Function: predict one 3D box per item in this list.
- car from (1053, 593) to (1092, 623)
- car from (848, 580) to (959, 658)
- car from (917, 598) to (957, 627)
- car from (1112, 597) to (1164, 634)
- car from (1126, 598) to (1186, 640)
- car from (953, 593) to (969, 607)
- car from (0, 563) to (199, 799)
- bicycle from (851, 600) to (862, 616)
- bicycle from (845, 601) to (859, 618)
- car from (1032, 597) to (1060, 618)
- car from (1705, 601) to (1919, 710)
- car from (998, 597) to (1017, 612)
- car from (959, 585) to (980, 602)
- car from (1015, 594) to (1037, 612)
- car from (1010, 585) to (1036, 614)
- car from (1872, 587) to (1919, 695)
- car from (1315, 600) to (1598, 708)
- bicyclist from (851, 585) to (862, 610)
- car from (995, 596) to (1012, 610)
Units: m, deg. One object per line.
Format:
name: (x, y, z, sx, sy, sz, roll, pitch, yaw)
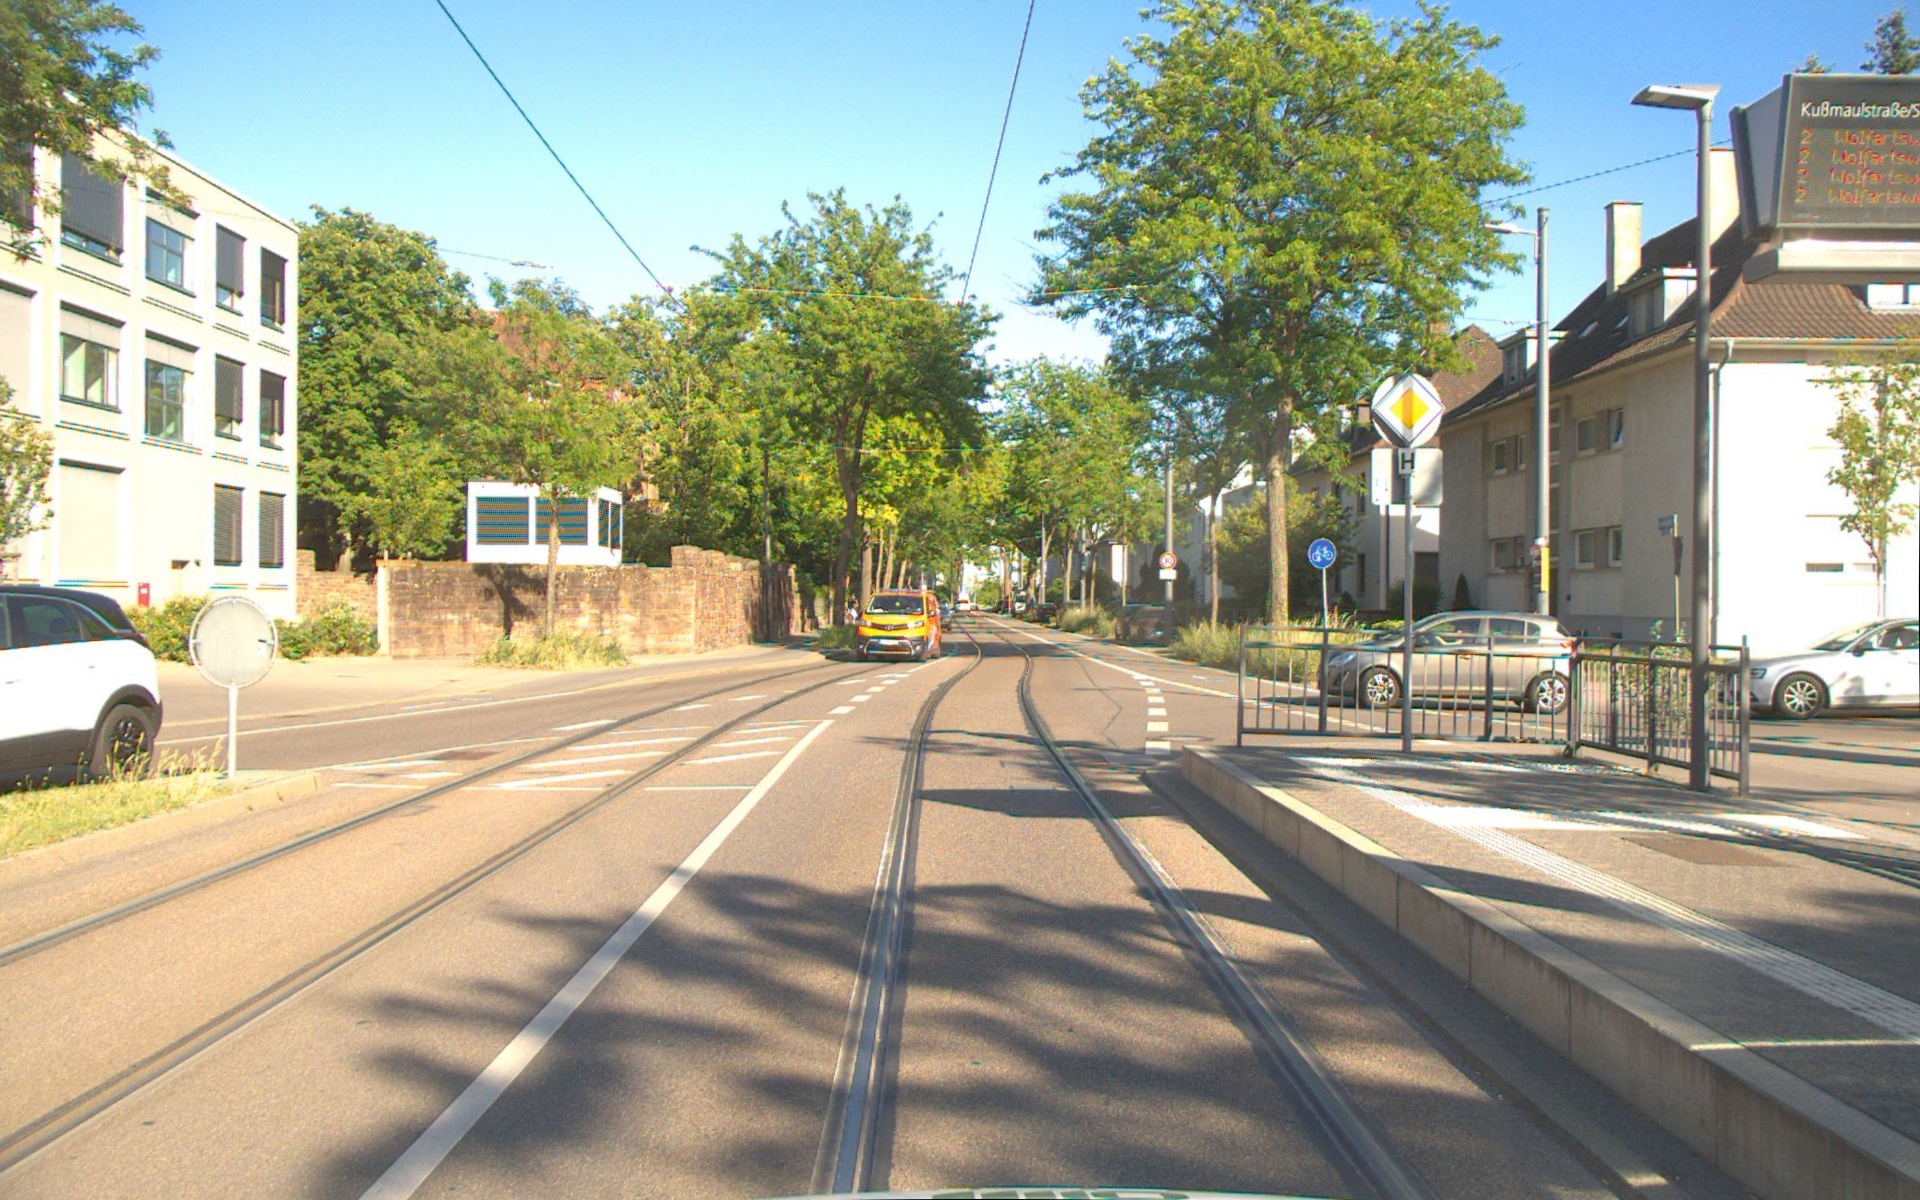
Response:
car: (6.962, 0.486, 102.879, 1.953, 1.734, 4.476, -3, 0, -2)
car: (-1.484, 0.490, 45.394, 1.951, 2.000, 4.938, 0, 0, 11)
car: (-1.236, 0.690, 92.397, 1.952, 1.551, 4.581, 0, 0, 2)
car: (7.520, 0.645, 70.298, 1.713, 1.521, 3.996, -1, 0, -1)
car: (7.583, 0.705, 64.264, 1.713, 1.521, 4.442, -1, 0, -1)
car: (0.128, -0.007, 203.148, 1.828, 1.704, 4.172, -1, 0, -1)
car: (-7.708, 0.580, 12.107, 1.727, 1.693, 4.214, 0, 0, 12)
bicycle: (-6.335, 0.468, 101.423, 0.577, 0.977, 2.132, 0, 0, 0)
bicycle: (-6.351, 0.565, 97.220, 0.696, 0.977, 2.094, 0, 0, 0)
car: (6.678, 0.589, 129.155, 1.748, 1.473, 4.299, -3, 0, -2)
car: (13.315, 0.790, 23.668, 4.505, 1.492, 1.983, 0, -2, 12)
car: (5.508, 0.506, 192.441, 1.962, 1.704, 4.391, -2, 0, -1)
car: (1.341, -0.934, 238.700, 1.959, 2.501, 4.493, -1, 0, -13)
car: (5.512, 0.258, 138.750, 1.594, 1.422, 3.644, -3, 0, -1)
car: (6.087, -0.040, 160.332, 2.200, 2.700, 5.584, 0, 0, -1)
car: (16.852, 0.647, 25.908, 4.079, 1.671, 1.981, 0, 0, -3)
car: (7.472, 0.784, 25.263, 3.902, 1.534, 1.984, 0, 0, 9)
bicyclist: (-6.337, -0.145, 101.402, 0.581, 1.554, 1.061, 0, 0, 0)
car: (5.502, 0.392, 209.865, 1.961, 1.704, 4.394, -2, 0, 3)
